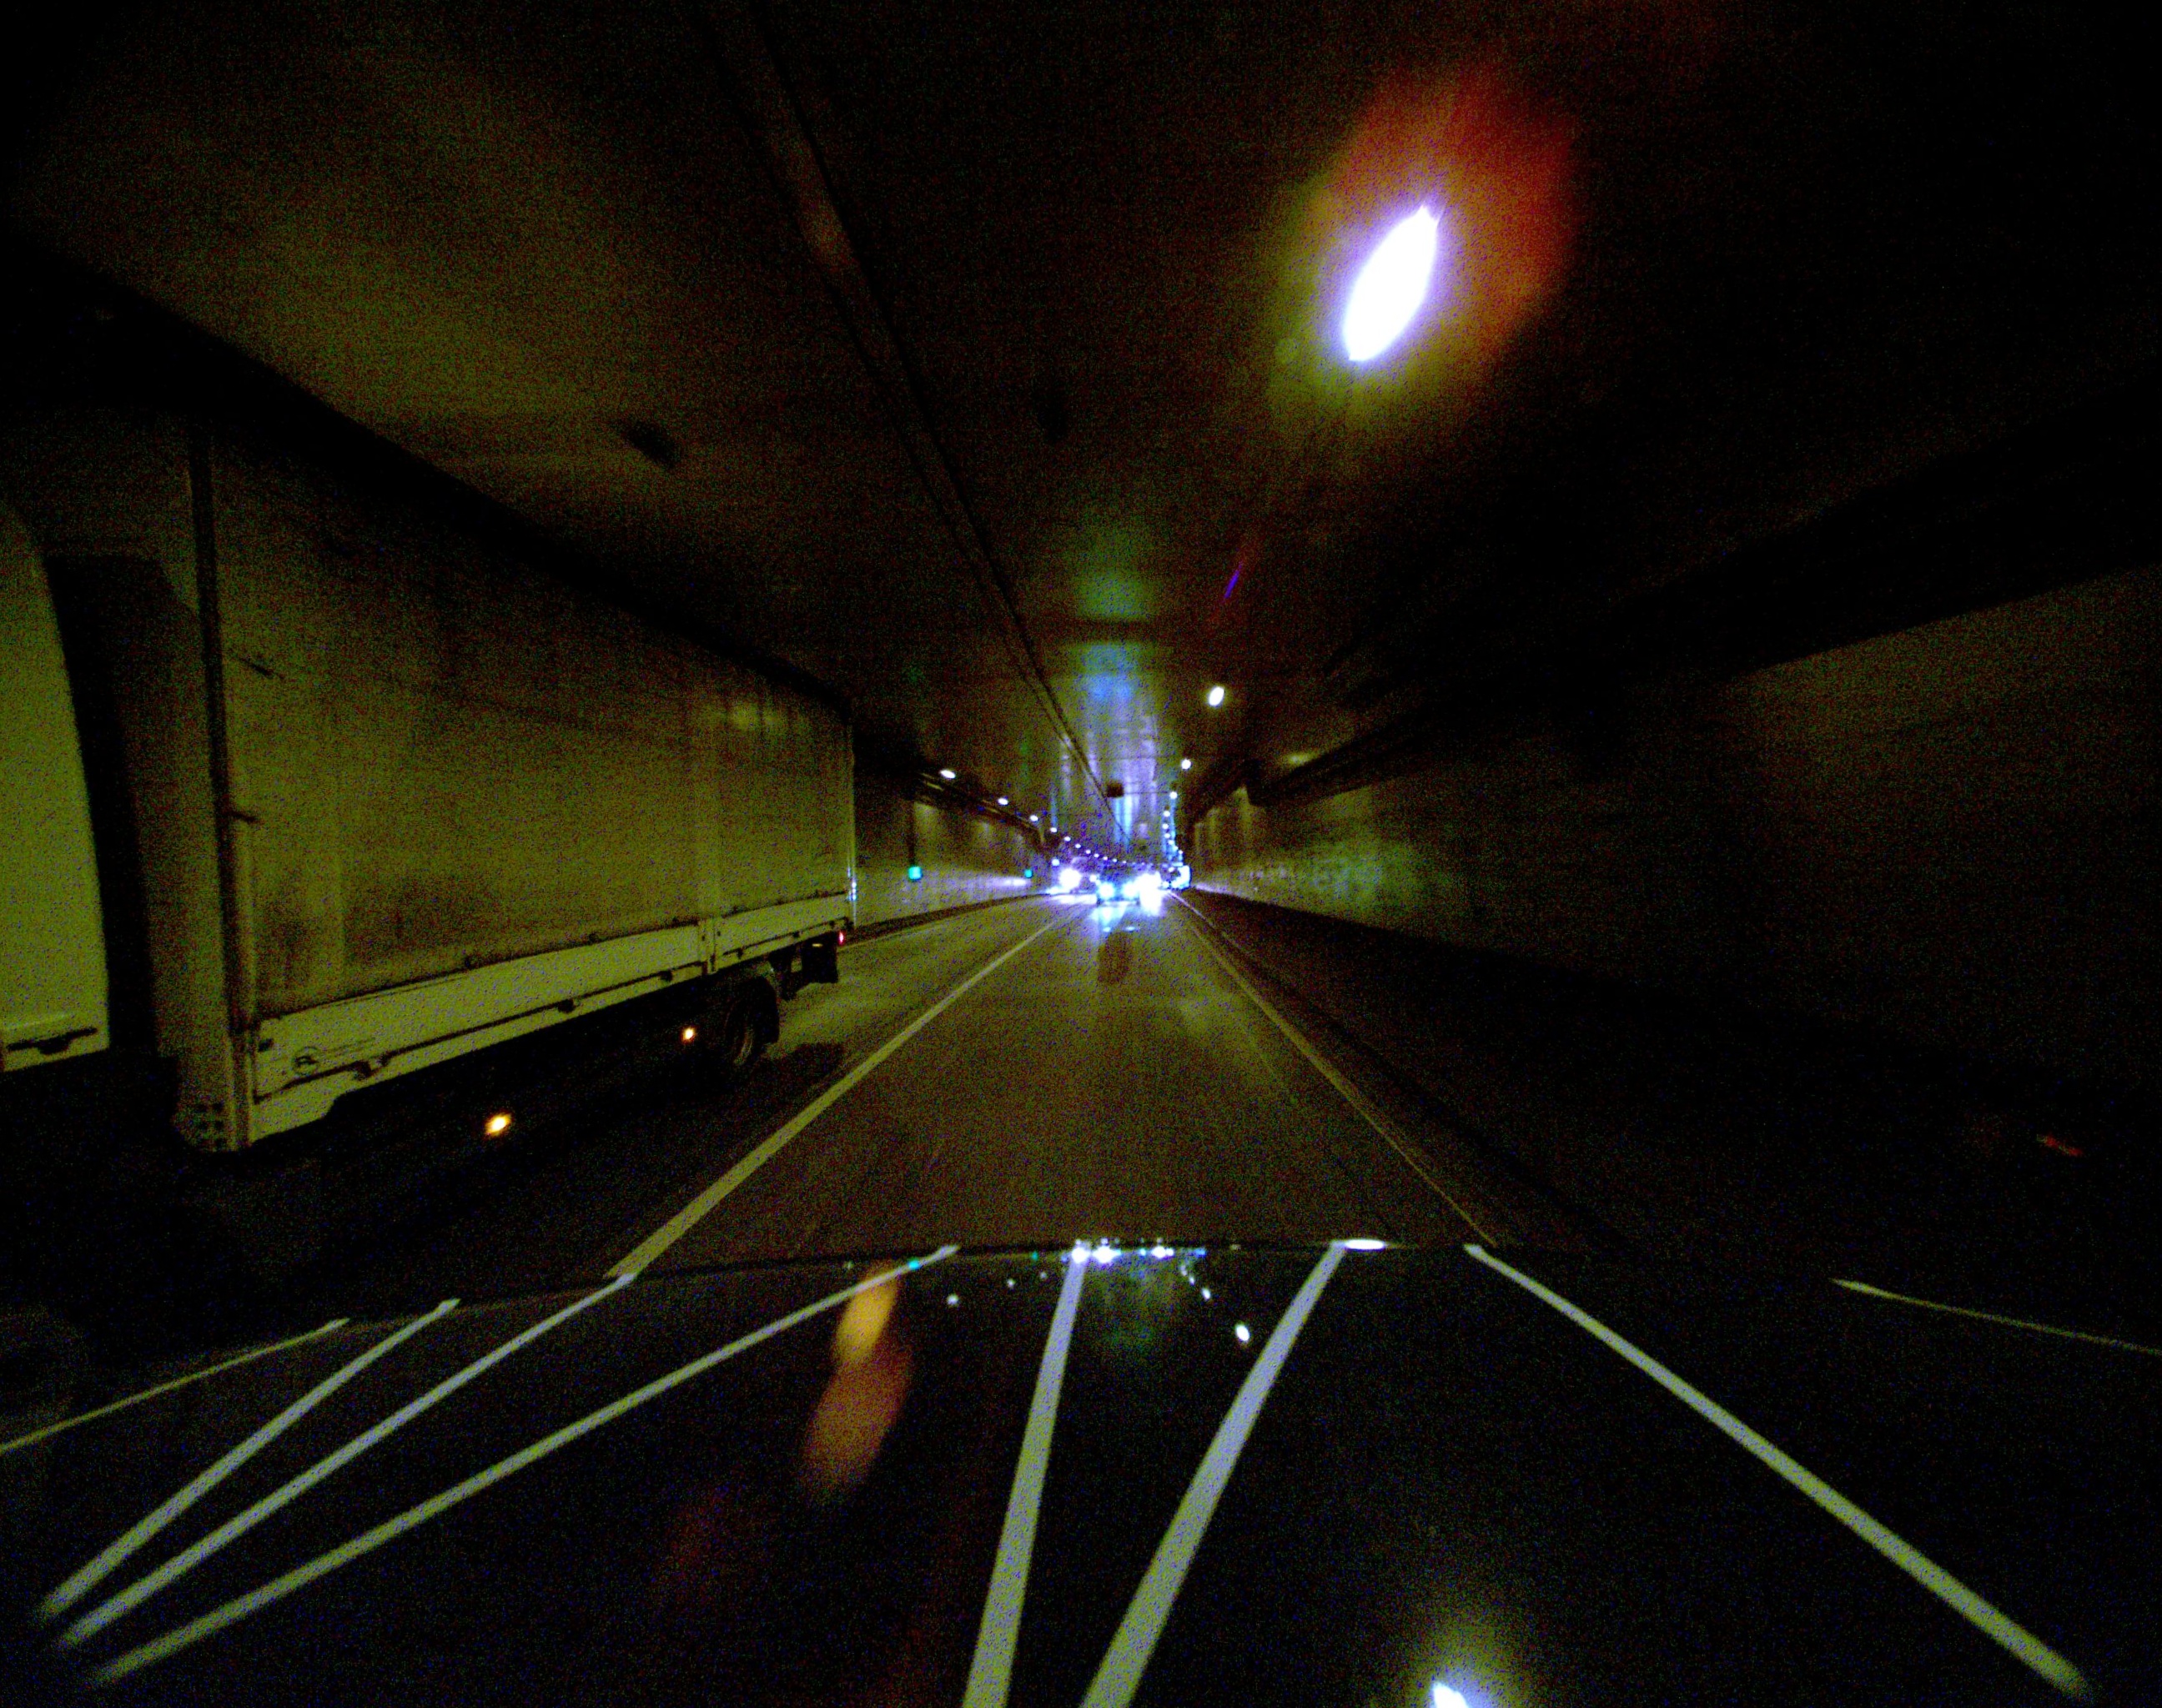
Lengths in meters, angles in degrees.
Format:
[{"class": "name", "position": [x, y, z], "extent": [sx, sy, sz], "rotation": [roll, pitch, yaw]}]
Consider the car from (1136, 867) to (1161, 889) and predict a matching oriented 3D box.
[{"class": "car", "position": [6.351, 2.257, 71.020], "extent": [1.934, 1.917, 4.201], "rotation": [-4, -3, 9]}]

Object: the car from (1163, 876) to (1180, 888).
[{"class": "car", "position": [14.735, 4.568, 123.232], "extent": [1.948, 1.525, 4.003], "rotation": [-5, 1, 16]}]

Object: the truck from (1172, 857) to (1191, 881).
[{"class": "truck", "position": [21.168, 3.066, 159.040], "extent": [2.885, 4.446, 10.461], "rotation": [-5, 1, 12]}]

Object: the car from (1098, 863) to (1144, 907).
[{"class": "car", "position": [1.569, 1.148, 29.458], "extent": [1.639, 1.551, 3.718], "rotation": [-2, -1, 4]}]

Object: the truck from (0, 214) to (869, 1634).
[{"class": "truck", "position": [-3.583, 0.192, 3.901], "extent": [2.559, 3.162, 7.247], "rotation": [-2, -1, 3]}]

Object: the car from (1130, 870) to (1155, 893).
[{"class": "car", "position": [4.844, 2.121, 59.584], "extent": [1.764, 1.551, 3.820], "rotation": [-4, -1, 5]}]

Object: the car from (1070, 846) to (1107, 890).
[{"class": "car", "position": [0.597, 1.117, 54.638], "extent": [2.106, 2.829, 6.867], "rotation": [-2, -3, 4]}]

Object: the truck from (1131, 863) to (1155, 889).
[{"class": "truck", "position": [6.964, 2.384, 84.818], "extent": [2.073, 2.525, 6.026], "rotation": [-5, 1, 8]}]
